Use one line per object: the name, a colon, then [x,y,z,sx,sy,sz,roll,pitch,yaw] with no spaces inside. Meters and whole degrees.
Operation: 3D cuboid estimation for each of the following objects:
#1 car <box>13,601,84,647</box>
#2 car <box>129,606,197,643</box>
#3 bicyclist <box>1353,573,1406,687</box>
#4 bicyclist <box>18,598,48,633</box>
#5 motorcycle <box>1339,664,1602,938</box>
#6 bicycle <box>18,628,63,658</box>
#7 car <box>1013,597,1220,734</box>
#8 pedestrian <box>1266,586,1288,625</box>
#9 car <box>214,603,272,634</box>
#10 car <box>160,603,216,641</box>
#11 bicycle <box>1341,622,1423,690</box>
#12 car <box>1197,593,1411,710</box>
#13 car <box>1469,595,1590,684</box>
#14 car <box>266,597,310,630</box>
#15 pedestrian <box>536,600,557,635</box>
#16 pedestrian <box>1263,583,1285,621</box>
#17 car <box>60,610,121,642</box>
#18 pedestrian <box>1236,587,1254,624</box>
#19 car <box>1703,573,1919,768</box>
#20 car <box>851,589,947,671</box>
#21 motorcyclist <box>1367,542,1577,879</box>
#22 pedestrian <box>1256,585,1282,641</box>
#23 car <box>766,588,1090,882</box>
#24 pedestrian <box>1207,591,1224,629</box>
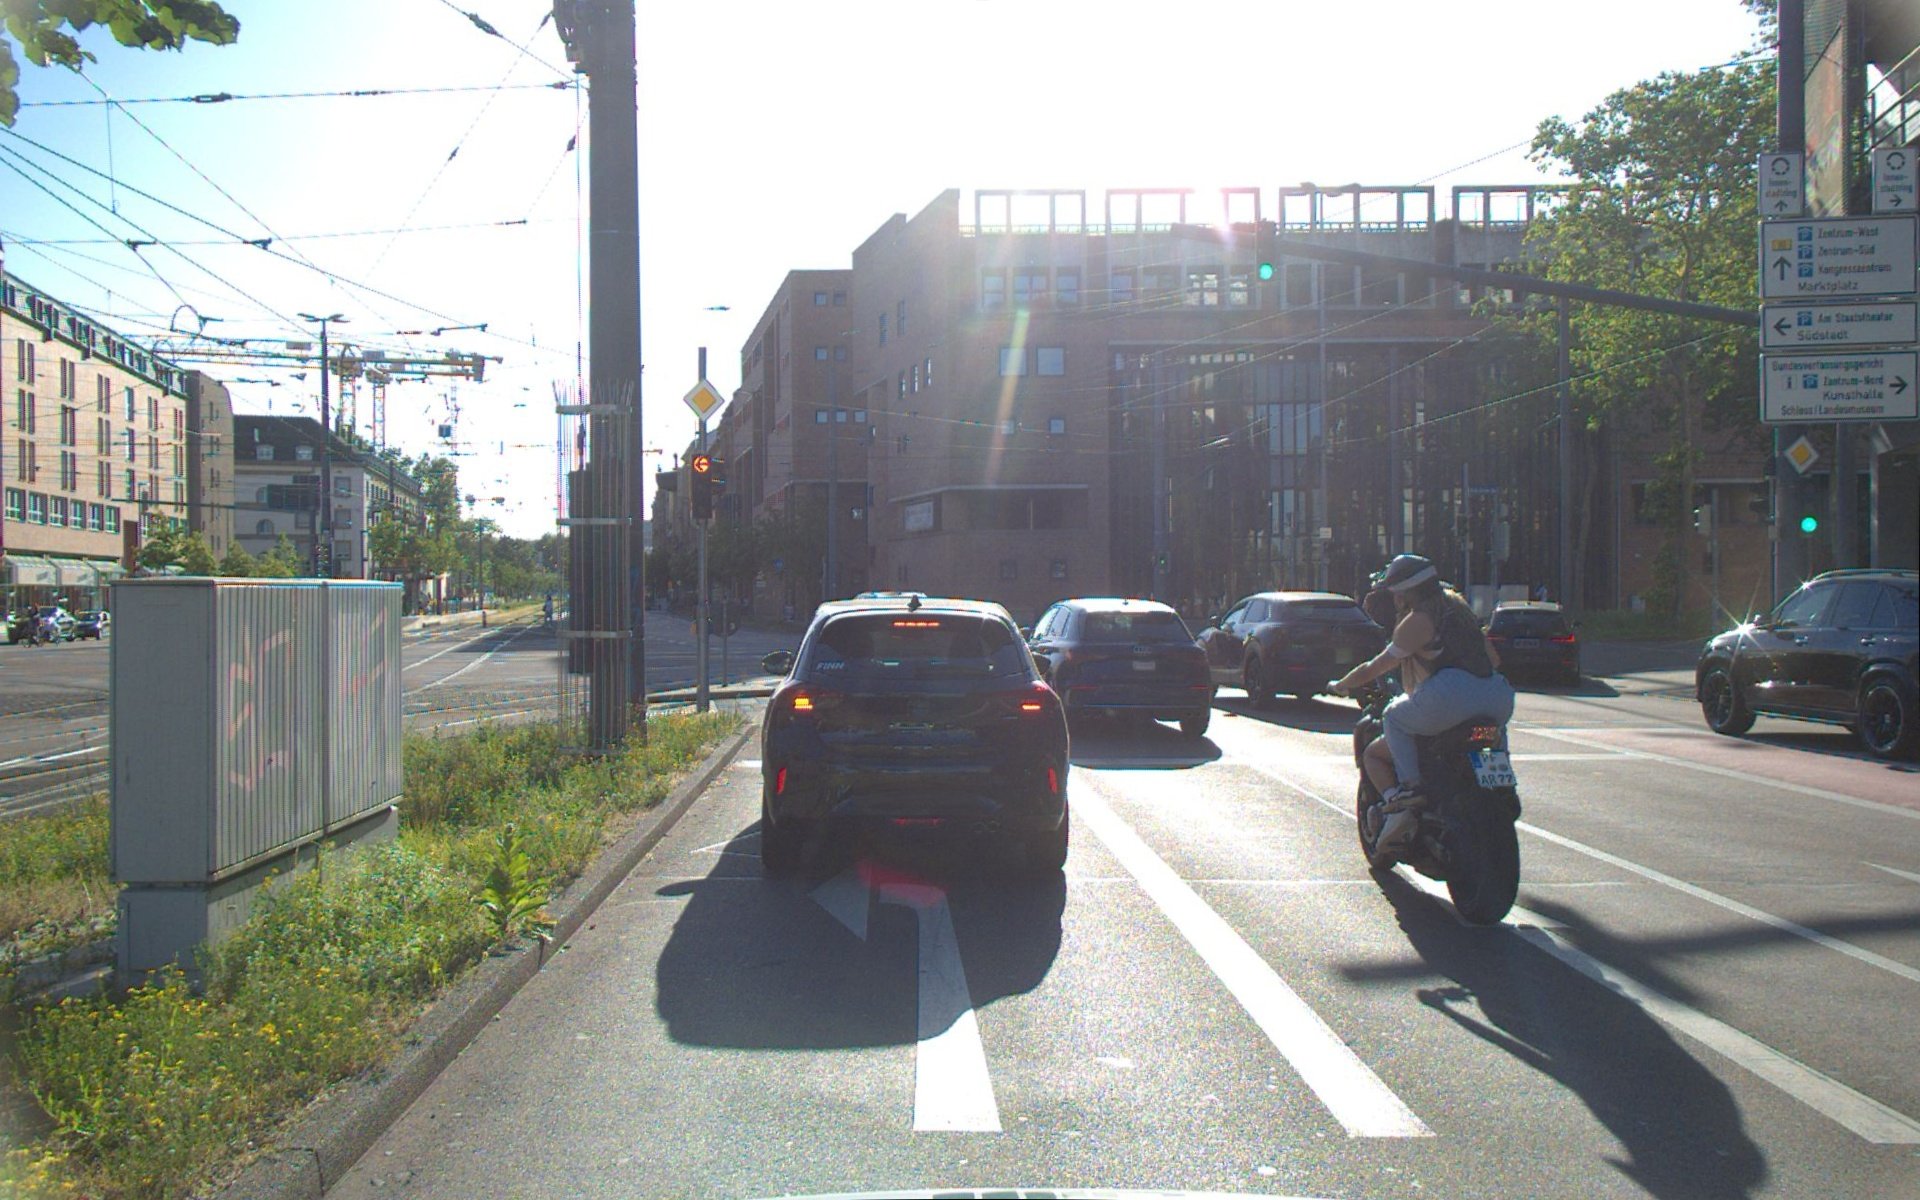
car: [-42.624,1.107,77.436,1.960,2.049,3.984,-1,0,-15]
car: [-37.244,1.134,77.419,1.960,1.624,4.720,-1,0,-15]
bicyclist: [6.803,0.476,26.864,0.566,1.822,0.862,-1,0,-6]
bicyclist: [-37.452,0.637,66.830,0.743,1.399,0.949,-1,0,-9]
motorcycle: [2.520,0.940,8.413,0.759,1.135,1.969,-1,0,1]
bicycle: [-37.542,1.741,67.564,0.638,1.104,2.920,-1,0,-9]
car: [1.672,0.665,18.898,1.703,1.373,3.996,0,0,-4]
pedestrian: [13.625,0.233,71.021,0.881,1.645,0.561,-1,0,7]
car: [-36.240,0.922,83.660,1.542,1.474,3.995,-1,0,-6]
car: [-33.211,0.930,71.247,1.718,1.531,3.860,-1,0,-19]
bicycle: [6.800,0.882,26.752,0.482,1.015,2.325,-1,0,-6]
car: [4.688,0.653,23.132,1.773,1.482,3.994,1,0,-7]
car: [10.623,0.669,30.691,1.953,1.444,4.000,2,1,21]
car: [-32.717,0.627,80.583,1.718,1.531,3.860,-1,0,-19]
pedestrian: [-20.297,0.863,81.197,0.759,1.669,0.735,-1,0,-35]
pedestrian: [13.714,0.069,72.305,0.881,1.645,0.561,-1,0,7]
car: [-44.248,1.303,84.234,1.853,1.536,3.984,-1,0,-15]
pedestrian: [12.634,0.230,73.344,0.722,1.645,0.561,-1,0,7]
car: [9.631,0.627,16.859,1.954,1.780,4.326,-1,0,-4]
car: [-1.393,0.609,36.155,1.705,1.680,3.993,0,0,-8]
motorcyclist: [2.505,0.511,8.199,0.729,1.557,1.021,-1,0,1]
pedestrian: [10.067,0.424,53.868,0.692,1.789,0.560,-1,0,24]
car: [-0.178,0.665,10.278,1.615,1.458,3.999,0,0,-1]
pedestrian: [9.697,0.370,62.848,0.519,1.455,0.598,0,0,-2]
